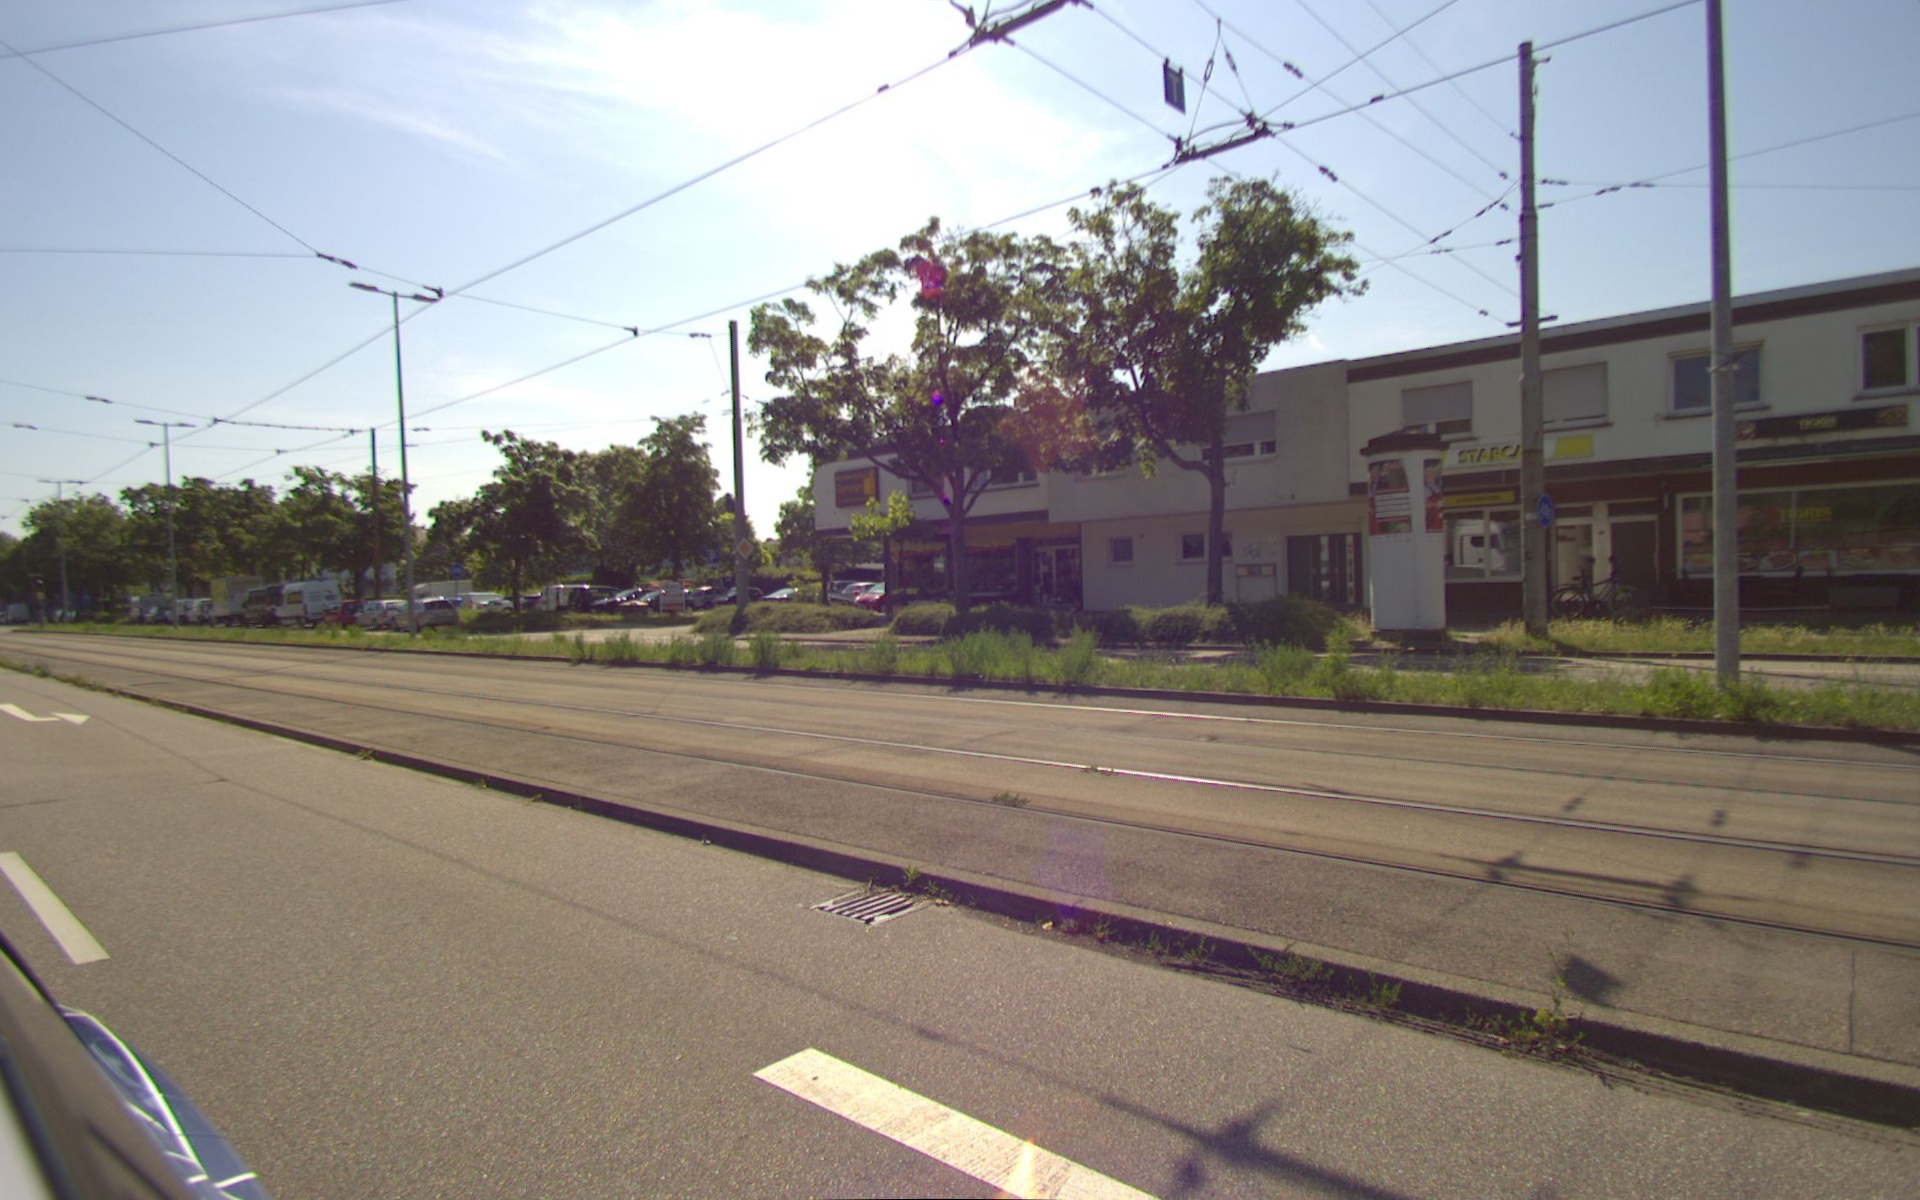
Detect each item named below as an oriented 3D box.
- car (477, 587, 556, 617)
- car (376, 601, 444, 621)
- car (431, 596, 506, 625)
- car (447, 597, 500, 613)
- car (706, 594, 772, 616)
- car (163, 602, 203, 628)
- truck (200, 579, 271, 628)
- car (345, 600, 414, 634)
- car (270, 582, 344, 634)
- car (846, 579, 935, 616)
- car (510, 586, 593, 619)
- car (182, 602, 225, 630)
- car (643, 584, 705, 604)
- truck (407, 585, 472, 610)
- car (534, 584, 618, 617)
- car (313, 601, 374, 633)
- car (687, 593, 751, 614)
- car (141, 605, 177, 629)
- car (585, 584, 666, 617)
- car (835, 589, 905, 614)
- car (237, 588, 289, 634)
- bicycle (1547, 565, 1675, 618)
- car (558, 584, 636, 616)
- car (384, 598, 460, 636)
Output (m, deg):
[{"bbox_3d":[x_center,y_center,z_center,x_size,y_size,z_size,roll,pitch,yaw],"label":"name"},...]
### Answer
[{"bbox_3d":[-28.018,0.120,64.004,1.988,1.751,4.068,-1,1,38],"label":"car"},{"bbox_3d":[-42.060,0.807,77.441,1.676,1.345,4.198,-1,1,41],"label":"car"},{"bbox_3d":[-33.292,0.703,68.424,5.739,1.825,2.560,-1,1,42],"label":"car"},{"bbox_3d":[-45.980,0.422,95.690,1.676,1.345,4.198,-1,1,41],"label":"car"},{"bbox_3d":[-15.166,0.317,69.645,1.676,1.345,4.197,-1,1,42],"label":"car"},{"bbox_3d":[-59.744,1.166,77.829,4.056,1.859,1.484,-1,4,40],"label":"car"},{"bbox_3d":[-48.358,0.261,67.516,5.902,2.956,2.476,-1,4,42],"label":"truck"},{"bbox_3d":[-29.303,0.861,51.033,4.255,1.544,1.654,-1,4,41],"label":"car"},{"bbox_3d":[-37.246,0.468,57.657,5.201,2.673,2.036,-1,4,41],"label":"car"},{"bbox_3d":[-3.240,-0.120,47.986,1.676,1.616,4.197,-1,1,42],"label":"car"},{"bbox_3d":[-24.032,0.128,59.672,1.988,1.751,4.068,-1,1,38],"label":"car"},{"bbox_3d":[-54.719,1.147,73.168,4.631,1.817,1.483,-1,4,41],"label":"car"},{"bbox_3d":[-21.074,-0.486,74.722,1.674,1.345,4.201,-1,1,39],"label":"car"},{"bbox_3d":[-52.984,-0.290,103.102,1.988,2.398,5.584,-1,1,38],"label":"truck"},{"bbox_3d":[-22.057,-0.007,58.190,1.988,1.751,4.068,-1,1,38],"label":"car"},{"bbox_3d":[-33.151,0.926,54.373,3.791,1.544,1.654,-1,4,41],"label":"car"},{"bbox_3d":[-17.016,0.239,71.556,1.676,1.345,4.197,-1,1,42],"label":"car"},{"bbox_3d":[-64.399,1.378,81.373,3.685,1.799,1.484,-1,4,40],"label":"car"},{"bbox_3d":[-17.959,0.023,54.435,1.676,1.646,3.761,-1,1,42],"label":"car"},{"bbox_3d":[-5.467,0.084,61.653,1.676,1.345,4.197,-1,1,42],"label":"car"},{"bbox_3d":[-42.356,0.670,61.493,4.005,2.643,1.483,-1,4,41],"label":"car"},{"bbox_3d":[14.689,-0.168,22.893,2.333,1.161,0.779,-1,-1,42],"label":"bicycle"},{"bbox_3d":[-20.230,-0.008,56.471,1.676,1.646,3.761,-1,1,42],"label":"car"},{"bbox_3d":[-25.246,0.803,47.408,4.255,1.544,1.654,-1,4,41],"label":"car"}]
